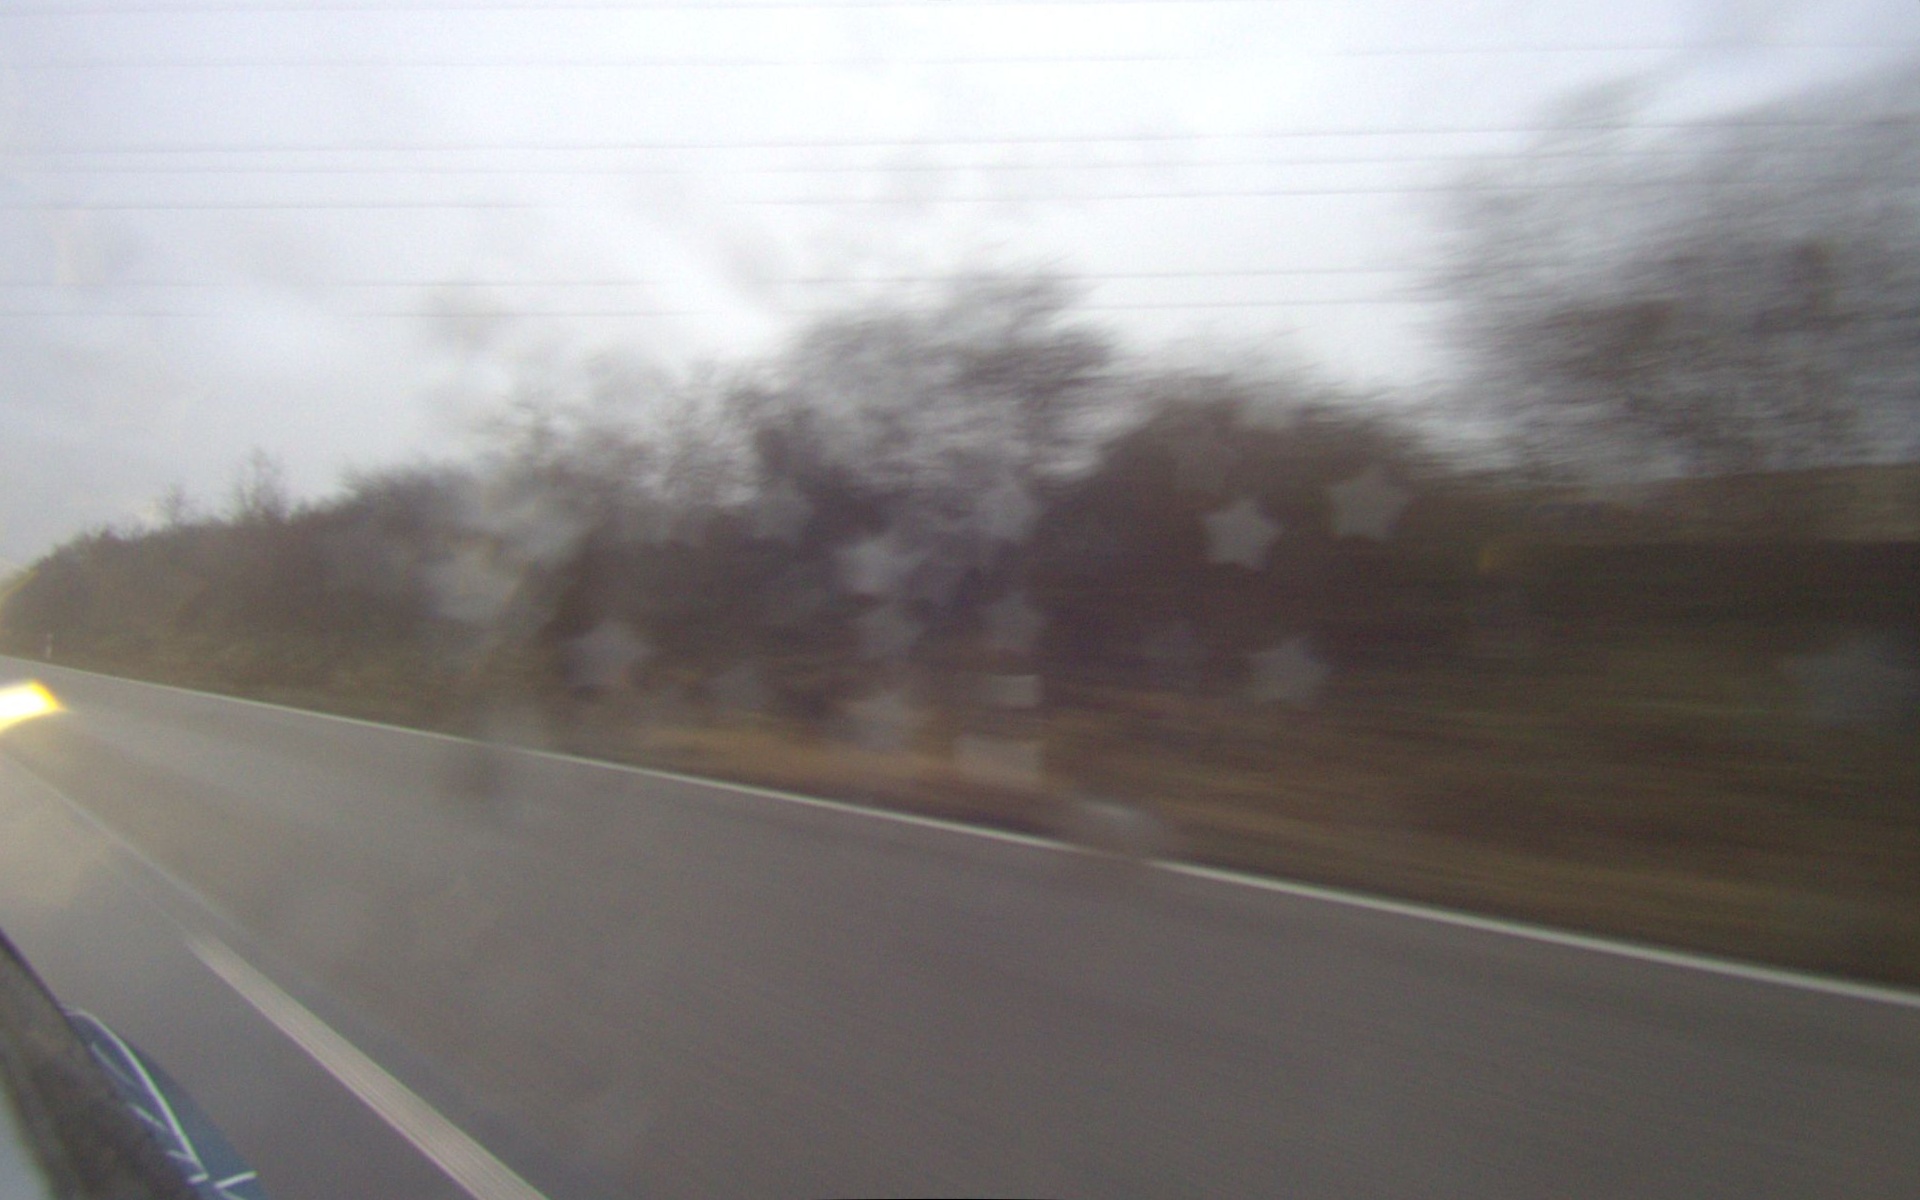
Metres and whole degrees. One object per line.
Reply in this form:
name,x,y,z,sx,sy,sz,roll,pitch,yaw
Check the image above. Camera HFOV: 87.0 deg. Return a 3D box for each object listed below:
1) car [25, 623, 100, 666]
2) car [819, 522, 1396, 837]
car,-35.354,1.722,39.855,3.772,1.621,1.757,-1,-2,42
car,0.975,0.464,7.846,3.999,1.798,1.973,-1,0,42
